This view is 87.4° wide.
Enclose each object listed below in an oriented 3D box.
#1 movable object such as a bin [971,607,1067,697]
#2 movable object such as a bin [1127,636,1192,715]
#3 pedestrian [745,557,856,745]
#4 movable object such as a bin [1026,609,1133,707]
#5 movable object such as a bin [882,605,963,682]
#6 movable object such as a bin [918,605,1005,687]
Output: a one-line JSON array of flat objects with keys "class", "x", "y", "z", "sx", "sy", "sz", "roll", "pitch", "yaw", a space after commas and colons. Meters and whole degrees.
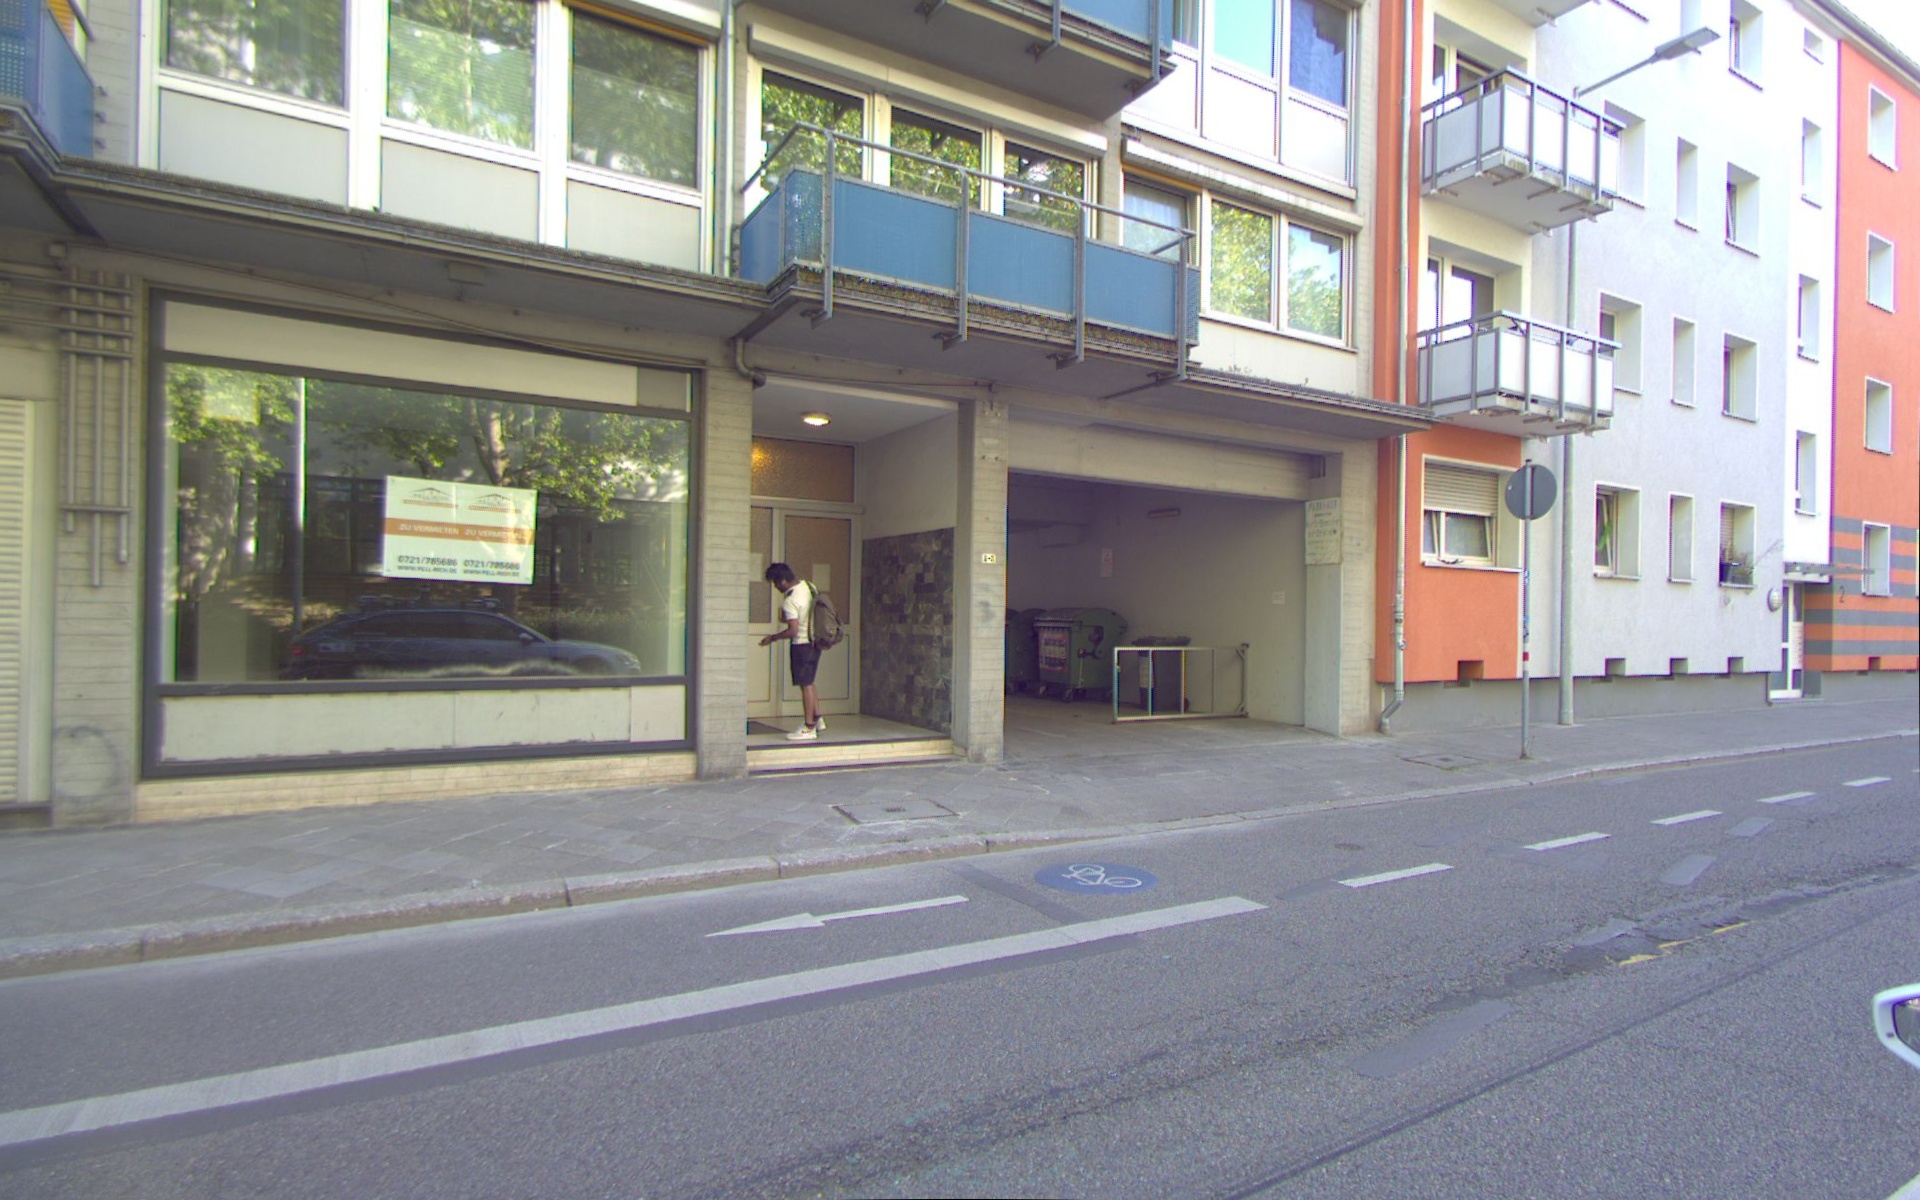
[{"class": "movable object such as a bin", "x": 0.998, "y": 0.872, "z": 17.150, "sx": 1.120, "sy": 1.444, "sz": 1.268, "roll": 2, "pitch": 0, "yaw": -28}, {"class": "movable object such as a bin", "x": 2.877, "y": 1.080, "z": 14.484, "sx": 0.713, "sy": 1.094, "sz": 0.533, "roll": 2, "pitch": 0, "yaw": -29}, {"class": "pedestrian", "x": -1.454, "y": 0.455, "z": 9.293, "sx": 0.820, "sy": 1.639, "sz": 0.794, "roll": 2, "pitch": 0, "yaw": 3}, {"class": "movable object such as a bin", "x": 1.865, "y": 0.880, "z": 15.808, "sx": 1.120, "sy": 1.444, "sz": 1.268, "roll": 2, "pitch": 0, "yaw": -28}, {"class": "movable object such as a bin", "x": -0.752, "y": 0.842, "z": 19.785, "sx": 1.120, "sy": 1.444, "sz": 1.268, "roll": 2, "pitch": 0, "yaw": -28}, {"class": "movable object such as a bin", "x": 0.019, "y": 0.839, "z": 18.693, "sx": 1.120, "sy": 1.444, "sz": 1.268, "roll": 2, "pitch": 0, "yaw": -28}]
